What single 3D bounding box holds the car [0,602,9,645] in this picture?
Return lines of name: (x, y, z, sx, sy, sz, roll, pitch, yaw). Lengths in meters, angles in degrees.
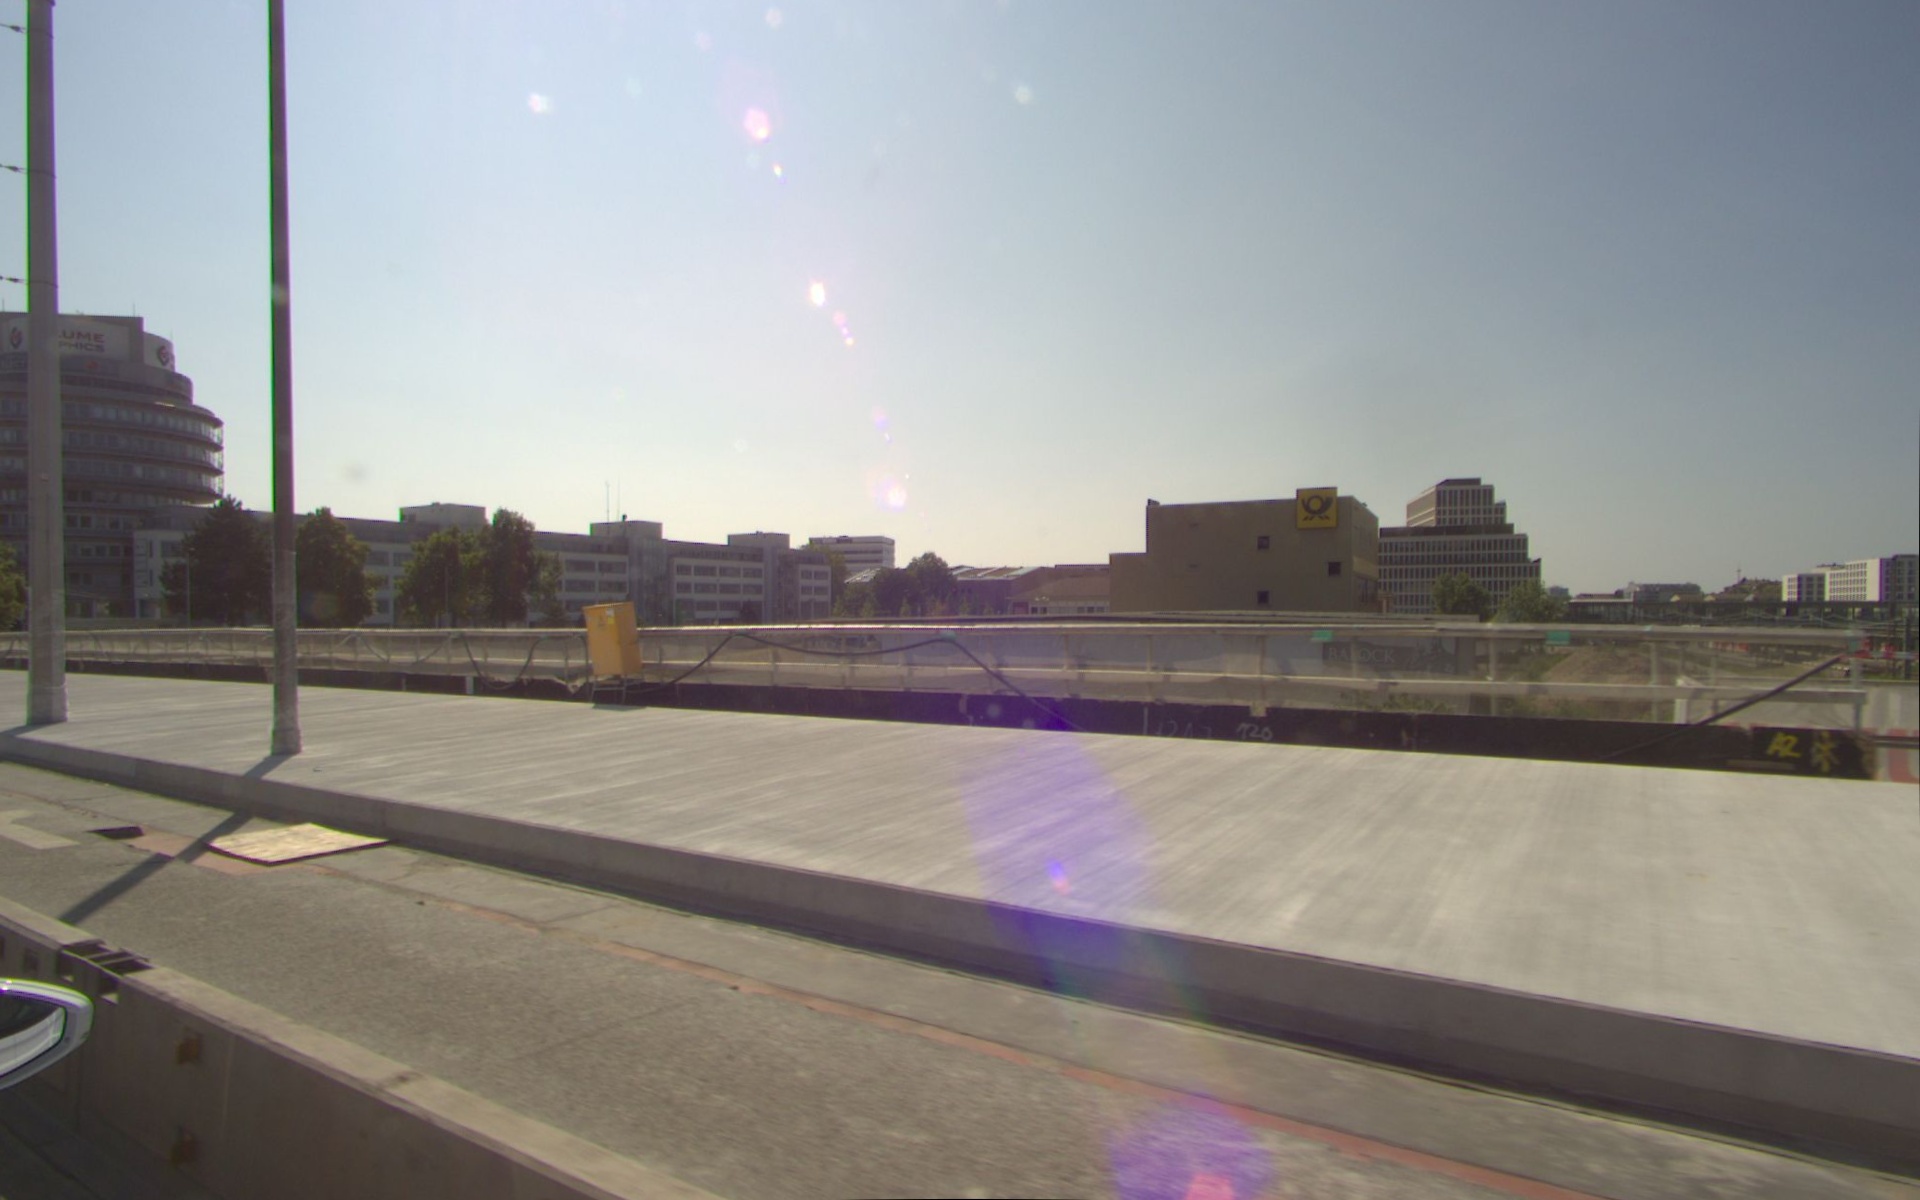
car: (-67.578, 1.508, 66.525, 2.303, 2.924, 5.965, 1, -1, 16)
